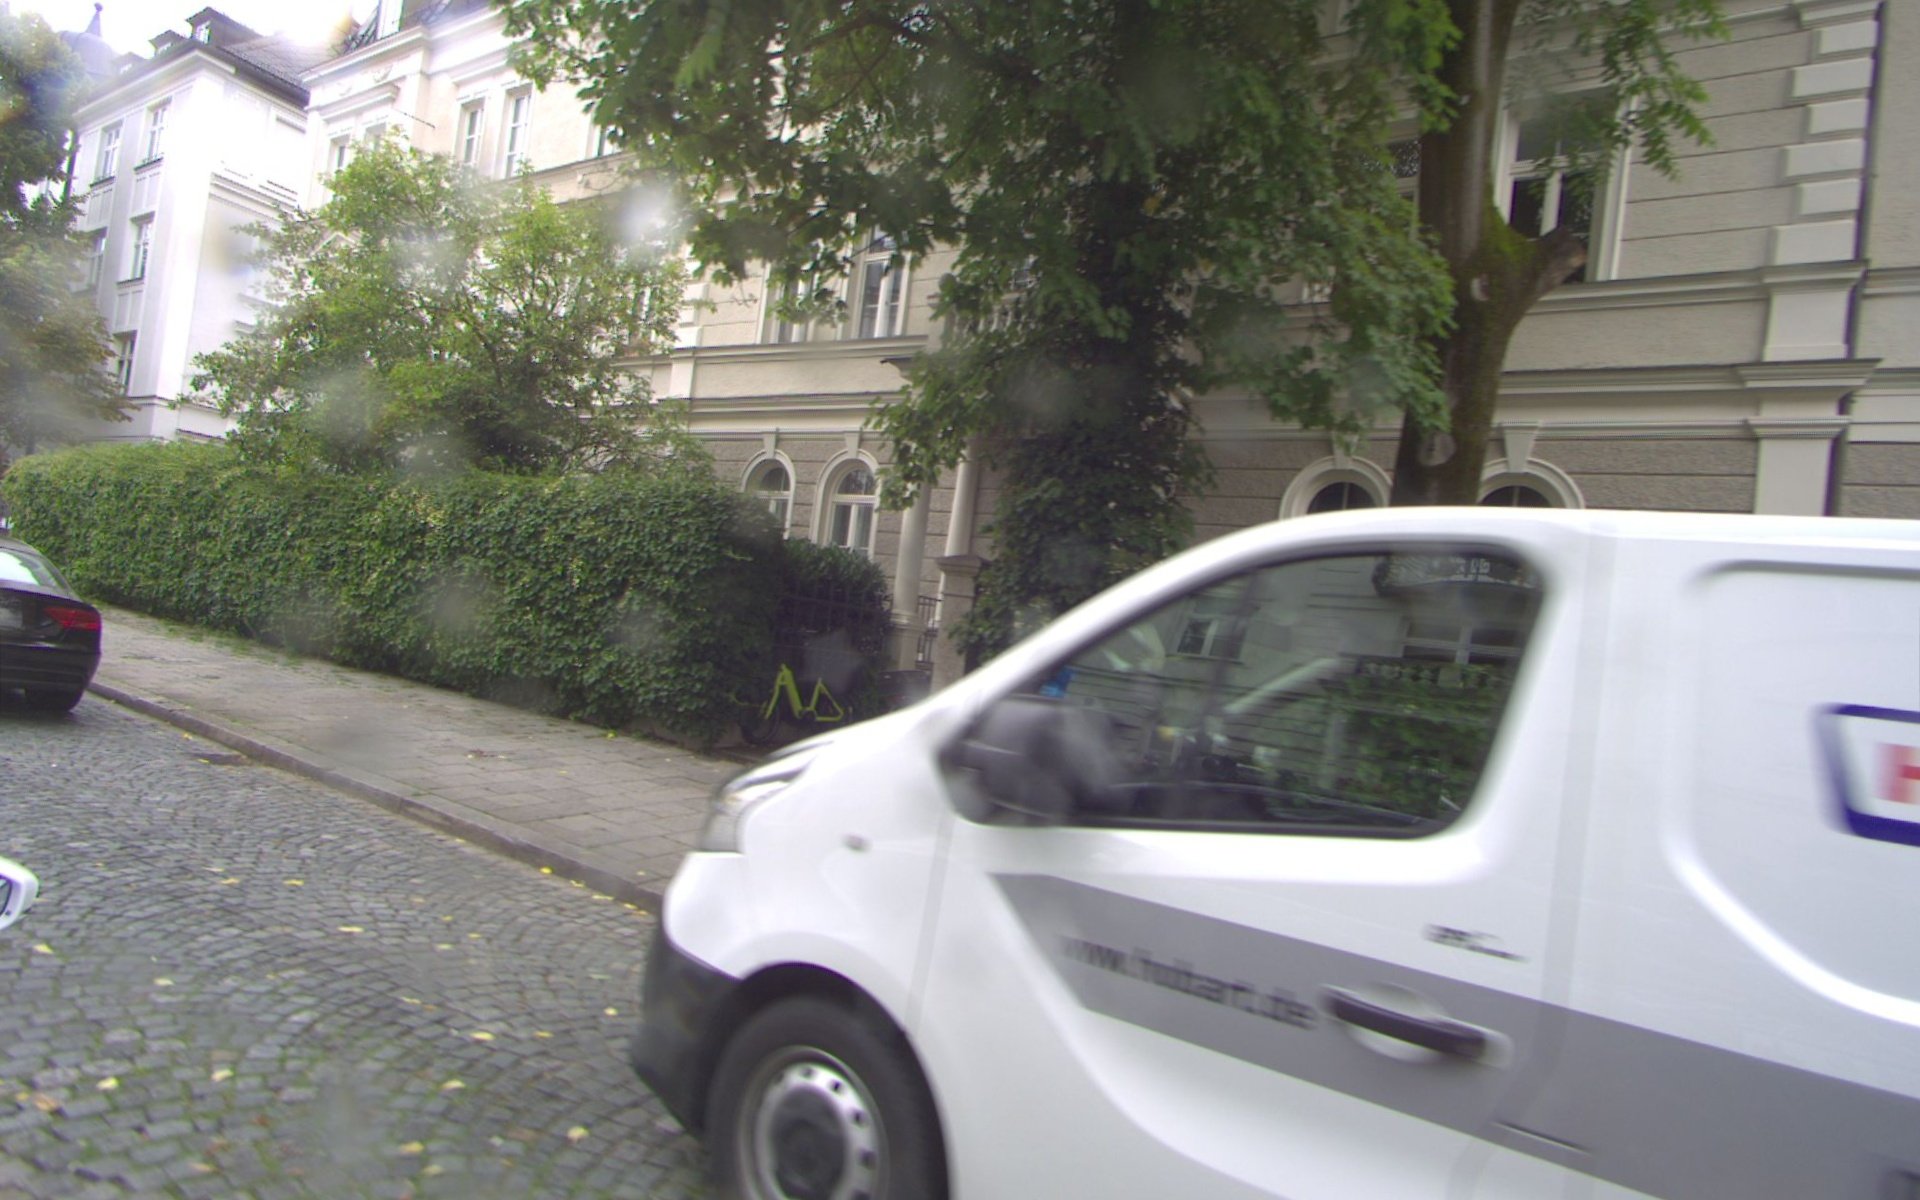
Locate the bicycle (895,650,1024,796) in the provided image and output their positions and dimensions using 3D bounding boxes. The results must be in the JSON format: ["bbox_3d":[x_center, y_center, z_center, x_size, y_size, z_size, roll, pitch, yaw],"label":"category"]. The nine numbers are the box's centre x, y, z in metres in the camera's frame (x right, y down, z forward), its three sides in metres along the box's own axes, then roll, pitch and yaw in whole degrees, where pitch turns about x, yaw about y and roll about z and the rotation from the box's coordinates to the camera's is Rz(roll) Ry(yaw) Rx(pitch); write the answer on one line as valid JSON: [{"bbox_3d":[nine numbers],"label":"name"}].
[{"bbox_3d":[0.030,1.062,8.999,0.401,1.166,1.434,7,0,29],"label":"bicycle"}]

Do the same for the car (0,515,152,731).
[{"bbox_3d":[-8.915,-0.076,8.326,4.436,1.518,1.880,6,-5,31],"label":"car"}]

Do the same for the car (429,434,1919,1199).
[{"bbox_3d":[1.325,0.878,2.295,5.077,1.947,1.880,6,-5,31],"label":"car"}]

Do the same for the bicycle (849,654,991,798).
[{"bbox_3d":[-0.332,1.118,9.284,0.497,1.166,1.495,7,0,29],"label":"bicycle"}]

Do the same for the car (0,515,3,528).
[{"bbox_3d":[-12.969,-0.498,11.477,4.139,1.595,1.824,6,-6,32],"label":"car"}]

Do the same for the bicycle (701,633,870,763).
[{"bbox_3d":[-1.716,0.975,10.278,0.423,1.166,2.040,7,0,29],"label":"bicycle"}]
